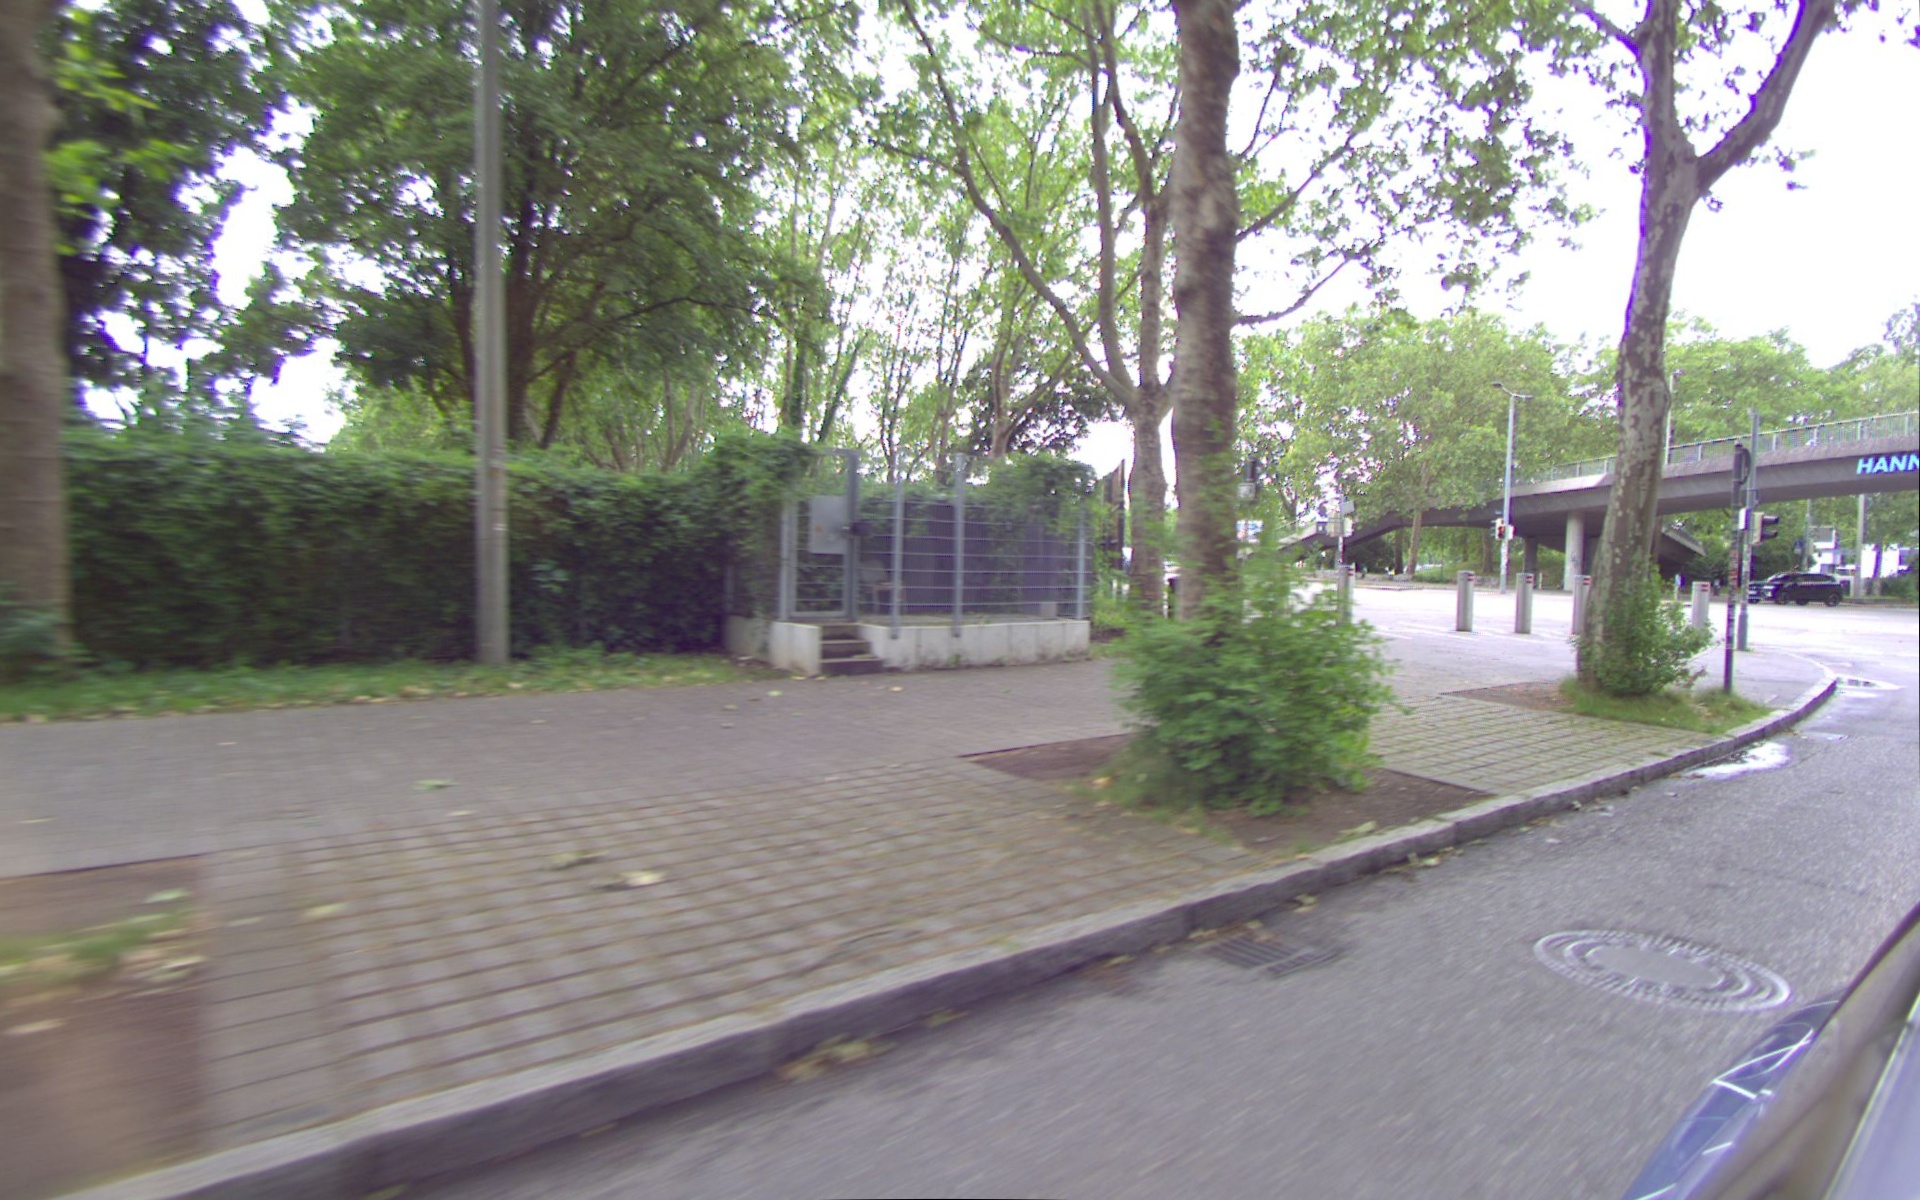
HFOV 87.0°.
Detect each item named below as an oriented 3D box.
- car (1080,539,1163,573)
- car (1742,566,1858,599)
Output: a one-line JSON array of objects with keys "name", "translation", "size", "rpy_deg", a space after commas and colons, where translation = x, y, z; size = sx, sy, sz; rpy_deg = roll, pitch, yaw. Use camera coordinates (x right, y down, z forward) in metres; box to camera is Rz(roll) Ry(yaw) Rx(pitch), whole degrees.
[{"name": "car", "translation": [8.036, -2.215, 50.661], "size": [1.766, 1.528, 4.002], "rpy_deg": [0, 4, -36]}, {"name": "car", "translation": [38.692, -0.842, 46.688], "size": [3.652, 1.336, 1.762], "rpy_deg": [1, 4, 6]}]
